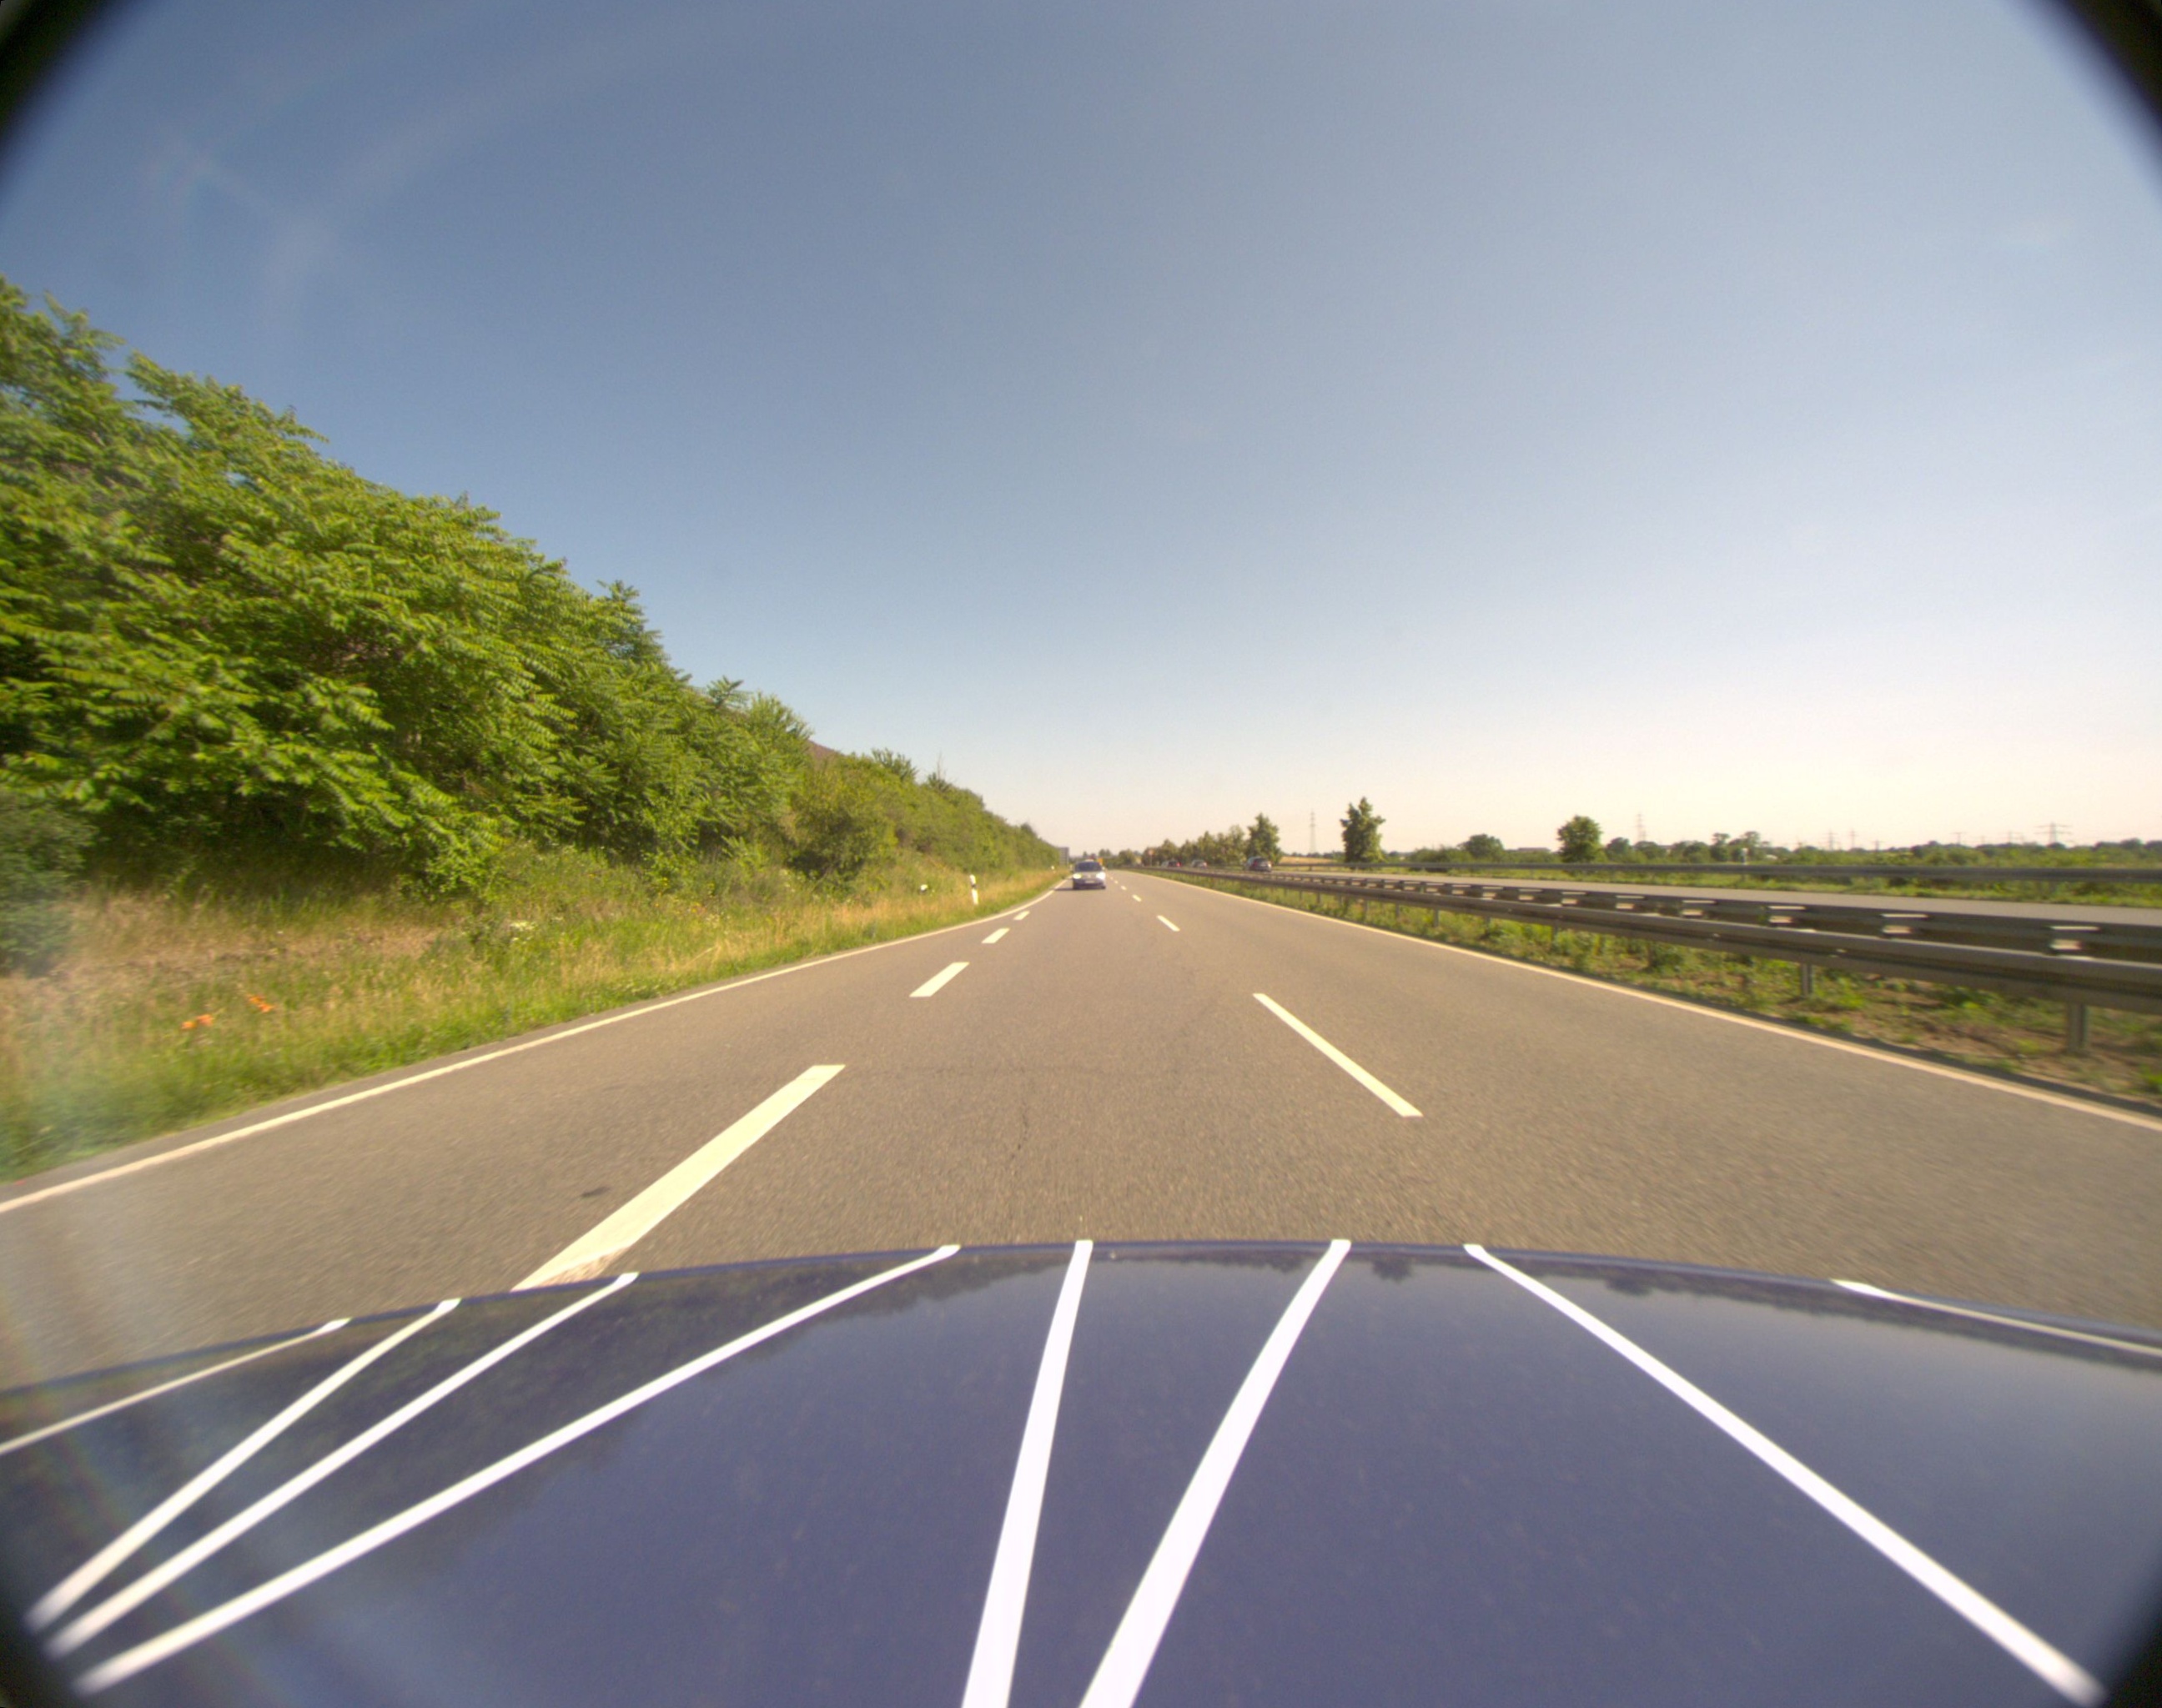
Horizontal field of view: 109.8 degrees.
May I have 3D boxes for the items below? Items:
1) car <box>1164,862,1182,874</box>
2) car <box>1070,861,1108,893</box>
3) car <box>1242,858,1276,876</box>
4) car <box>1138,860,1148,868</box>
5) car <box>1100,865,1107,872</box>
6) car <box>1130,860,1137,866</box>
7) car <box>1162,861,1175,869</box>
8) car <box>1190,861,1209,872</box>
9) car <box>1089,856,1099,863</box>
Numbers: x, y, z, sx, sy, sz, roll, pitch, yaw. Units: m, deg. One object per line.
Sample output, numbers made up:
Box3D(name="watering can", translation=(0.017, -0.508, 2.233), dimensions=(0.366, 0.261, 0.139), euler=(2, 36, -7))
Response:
Box3D(name="car", translation=(12.137, 1.821, 100.610), dimensions=(1.819, 1.464, 4.324), euler=(-3, -1, 1))
Box3D(name="car", translation=(0.473, 1.218, 41.986), dimensions=(1.854, 1.635, 4.001), euler=(-1, 0, 4))
Box3D(name="car", translation=(15.813, 1.161, 67.768), dimensions=(1.872, 1.426, 4.935), euler=(-3, 0, 0))
Box3D(name="car", translation=(13.331, 2.129, 163.505), dimensions=(1.717, 1.461, 4.416), euler=(-3, 0, 1))
Box3D(name="car", translation=(6.423, 4.199, 220.616), dimensions=(1.790, 1.659, 4.000), euler=(-1, 0, -1))
Box3D(name="car", translation=(14.364, 2.531, 208.474), dimensions=(1.730, 1.586, 4.221), euler=(-2, -1, 1))
Box3D(name="car", translation=(16.280, 2.052, 141.696), dimensions=(1.826, 1.388, 4.416), euler=(-3, 0, 1))
Box3D(name="car", translation=(15.638, 1.620, 100.503), dimensions=(1.717, 1.441, 4.323), euler=(-1, -1, -1))
Box3D(name="car", translation=(2.480, 0.993, 143.368), dimensions=(1.790, 1.212, 4.000), euler=(-1, 0, 0))
